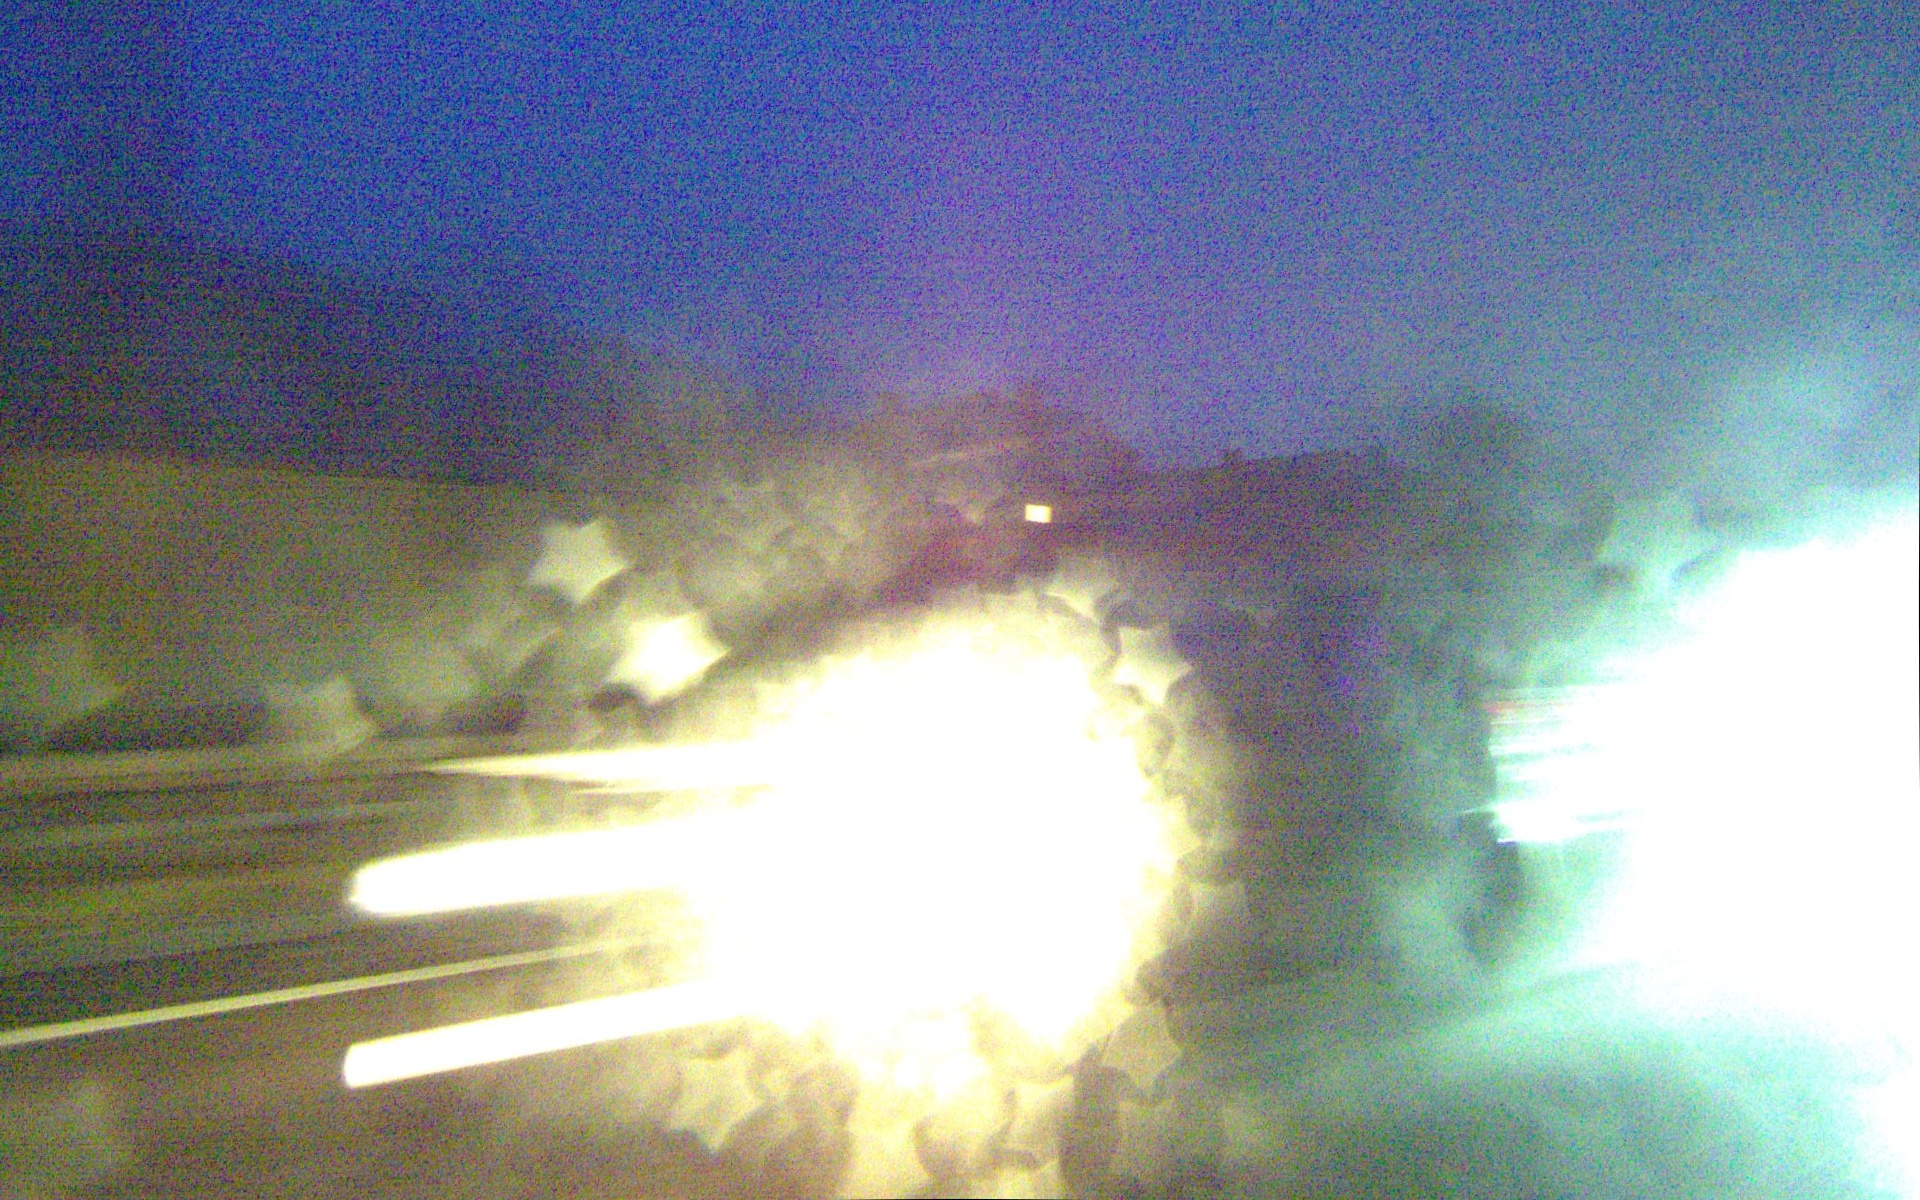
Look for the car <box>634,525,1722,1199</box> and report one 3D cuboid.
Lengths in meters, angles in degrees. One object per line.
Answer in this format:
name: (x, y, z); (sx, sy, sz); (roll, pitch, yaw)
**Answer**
car: (1.048, 0.643, 4.190); (4.296, 1.596, 1.916); (1, 0, -30)
